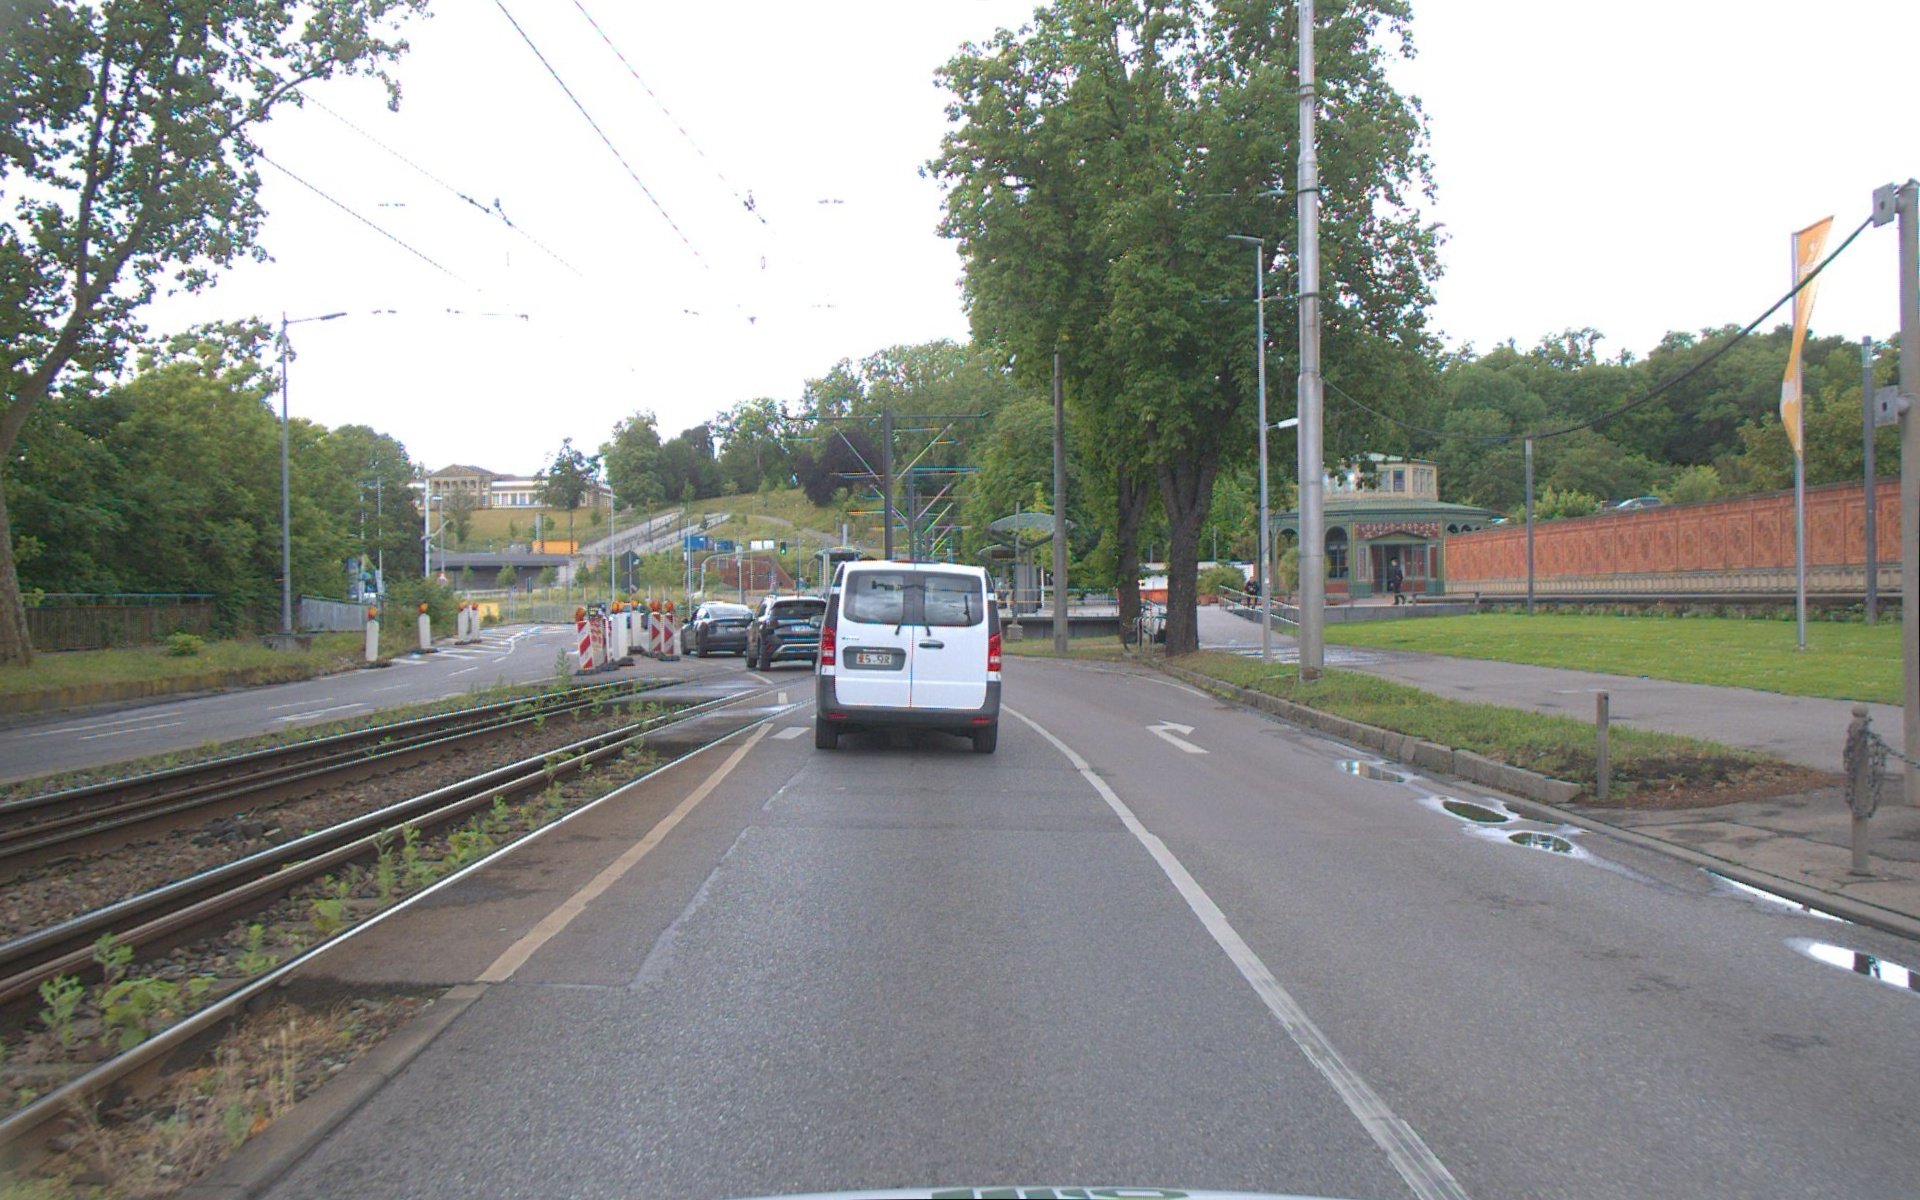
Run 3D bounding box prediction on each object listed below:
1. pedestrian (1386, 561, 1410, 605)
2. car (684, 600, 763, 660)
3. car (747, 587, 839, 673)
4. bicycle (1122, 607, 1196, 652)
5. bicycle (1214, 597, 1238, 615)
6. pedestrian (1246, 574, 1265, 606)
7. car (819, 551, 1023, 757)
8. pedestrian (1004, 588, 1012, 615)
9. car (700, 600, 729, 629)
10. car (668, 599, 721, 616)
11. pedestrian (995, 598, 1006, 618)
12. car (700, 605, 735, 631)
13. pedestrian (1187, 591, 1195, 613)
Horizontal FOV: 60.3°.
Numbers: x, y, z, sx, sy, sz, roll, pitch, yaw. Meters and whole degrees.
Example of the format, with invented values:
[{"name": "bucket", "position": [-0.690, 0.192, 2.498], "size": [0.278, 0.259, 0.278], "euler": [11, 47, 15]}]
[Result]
[{"name": "pedestrian", "position": [18.714, -0.732, 70.608], "size": [0.929, 1.870, 0.549], "euler": [0, -1, 21]}, {"name": "car", "position": [-6.673, 0.826, 46.318], "size": [1.807, 1.610, 4.047], "euler": [1, -1, -14]}, {"name": "car", "position": [-3.678, 0.645, 35.886], "size": [1.804, 1.759, 4.054], "euler": [0, -1, -8]}, {"name": "bicycle", "position": [5.416, 0.803, 45.007], "size": [1.949, 1.178, 0.741], "euler": [-1, -1, 4]}, {"name": "bicycle", "position": [16.620, 0.366, 103.491], "size": [0.556, 1.080, 1.698], "euler": [2, -1, -30]}, {"name": "pedestrian", "position": [11.541, -0.383, 64.637], "size": [0.537, 1.222, 0.668], "euler": [1, -1, -7]}, {"name": "car", "position": [-0.542, 0.546, 17.859], "size": [1.921, 1.937, 4.457], "euler": [0, -1, -5]}, {"name": "pedestrian", "position": [2.979, 0.072, 102.915], "size": [0.513, 1.648, 0.676], "euler": [1, -1, 1]}, {"name": "car", "position": [-17.750, 1.057, 119.603], "size": [1.897, 2.049, 3.994], "euler": [1, -1, -6]}, {"name": "car", "position": [-25.755, 0.732, 160.716], "size": [4.608, 1.503, 2.002], "euler": [-2, 0, 10]}, {"name": "pedestrian", "position": [2.538, 0.494, 104.255], "size": [0.644, 1.212, 0.676], "euler": [1, -1, 1]}, {"name": "car", "position": [-14.261, 1.038, 97.196], "size": [1.806, 1.493, 4.049], "euler": [1, -1, -12]}, {"name": "pedestrian", "position": [15.771, 0.133, 113.039], "size": [0.475, 1.513, 0.460], "euler": [1, -1, 3]}]
